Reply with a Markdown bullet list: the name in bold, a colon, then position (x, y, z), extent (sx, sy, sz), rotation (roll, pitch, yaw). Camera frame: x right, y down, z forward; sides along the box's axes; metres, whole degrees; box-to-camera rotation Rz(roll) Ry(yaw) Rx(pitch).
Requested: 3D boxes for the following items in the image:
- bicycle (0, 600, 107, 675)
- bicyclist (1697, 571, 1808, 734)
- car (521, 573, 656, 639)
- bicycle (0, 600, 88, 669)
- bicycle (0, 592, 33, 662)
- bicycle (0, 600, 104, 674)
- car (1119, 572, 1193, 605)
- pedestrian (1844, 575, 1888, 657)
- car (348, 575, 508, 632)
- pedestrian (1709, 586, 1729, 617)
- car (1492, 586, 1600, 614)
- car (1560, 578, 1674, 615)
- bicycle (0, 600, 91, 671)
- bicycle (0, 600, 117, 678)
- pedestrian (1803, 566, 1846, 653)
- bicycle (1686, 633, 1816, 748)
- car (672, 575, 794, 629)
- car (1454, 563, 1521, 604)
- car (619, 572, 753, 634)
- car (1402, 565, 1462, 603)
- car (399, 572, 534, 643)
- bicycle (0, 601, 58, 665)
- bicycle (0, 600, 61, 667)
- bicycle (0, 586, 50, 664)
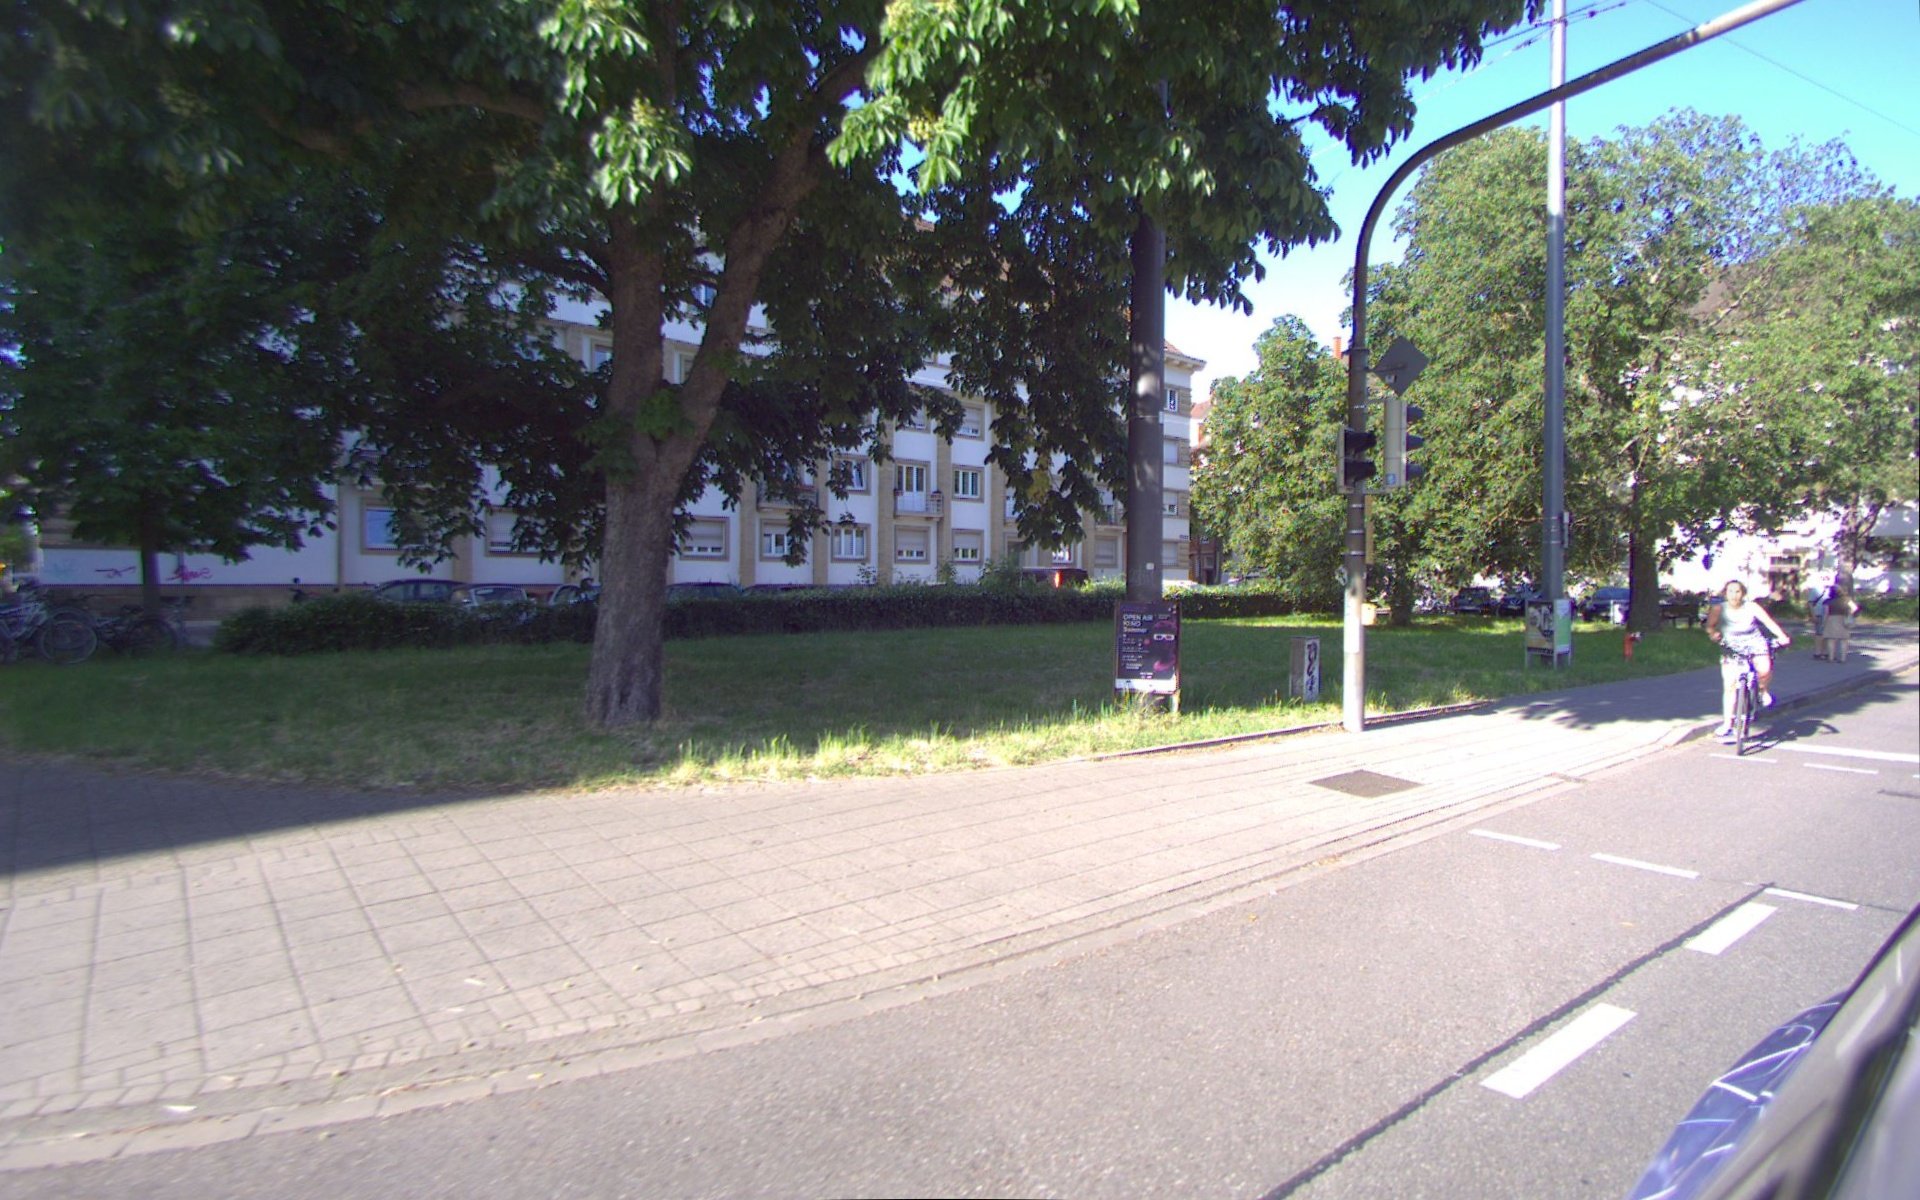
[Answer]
- **bicycle**: position (-14.206, 0.566, 15.460), extent (1.798, 1.108, 0.365), rotation (-1, 1, -42)
- **bicyclist**: position (7.710, 0.469, 9.845), extent (0.919, 1.493, 0.677), rotation (-1, 1, -40)
- **car**: position (-9.125, 0.079, 24.672), extent (1.964, 1.466, 3.997), rotation (-1, 1, -38)
- **bicycle**: position (-15.607, 0.563, 16.738), extent (1.798, 1.108, 0.365), rotation (-1, 1, -42)
- **bicycle**: position (-18.281, 0.505, 18.615), extent (1.798, 1.302, 0.432), rotation (-1, 1, -42)
- **bicycle**: position (-14.549, 0.565, 15.803), extent (1.798, 1.108, 0.365), rotation (-1, 1, -42)
- **car**: position (10.598, -0.654, 54.588), extent (4.015, 1.711, 1.904), rotation (-1, 1, -42)
- **pedestrian**: position (17.598, 0.296, 19.665), extent (0.593, 1.546, 0.624), rotation (1, 1, 40)
- **car**: position (-15.872, 0.060, 30.307), extent (3.931, 1.589, 1.844), rotation (-1, 1, -42)
- **pedestrian**: position (27.274, 0.059, 36.372), extent (0.602, 1.092, 0.459), rotation (-1, 1, -40)
- **car**: position (23.776, -0.030, 41.052), extent (4.192, 1.080, 2.002), rotation (-1, 1, -31)
- **car**: position (25.020, -0.160, 38.518), extent (4.192, 1.340, 2.002), rotation (-1, 1, -31)
- **bicycle**: position (-15.194, 0.565, 16.320), extent (1.798, 1.108, 0.365), rotation (-1, 1, -42)
- **bicycle**: position (-13.736, 0.563, 15.083), extent (1.798, 1.108, 0.365), rotation (-1, 1, -42)
- **pedestrian**: position (17.547, 0.180, 20.552), extent (0.562, 1.719, 0.589), rotation (0, 1, 32)
- **bicycle**: position (7.731, 0.837, 9.870), extent (1.705, 0.942, 0.683), rotation (-1, 1, -41)
- **car**: position (-8.314, 0.027, 37.248), extent (3.931, 1.867, 1.997), rotation (-1, 1, -42)
- **car**: position (23.326, -0.751, 44.650), extent (1.988, 1.720, 4.221), rotation (1, 1, 37)
- **car**: position (-7.160, 0.031, 26.221), extent (1.964, 1.466, 3.997), rotation (-1, 1, -38)
- **car**: position (22.152, -0.764, 47.404), extent (1.986, 1.720, 4.227), rotation (1, 1, 33)
- **car**: position (-11.280, 0.110, 23.011), extent (1.964, 1.466, 3.997), rotation (-1, 1, -38)
- **bicycle**: position (-17.030, 0.578, 17.743), extent (1.798, 1.108, 0.365), rotation (-1, 1, -42)
- **bicycle**: position (-16.387, 0.570, 17.087), extent (1.798, 1.108, 0.365), rotation (-1, 1, -42)
- **bicycle**: position (-17.675, 0.452, 18.301), extent (1.798, 1.405, 0.432), rotation (-1, 1, -42)
